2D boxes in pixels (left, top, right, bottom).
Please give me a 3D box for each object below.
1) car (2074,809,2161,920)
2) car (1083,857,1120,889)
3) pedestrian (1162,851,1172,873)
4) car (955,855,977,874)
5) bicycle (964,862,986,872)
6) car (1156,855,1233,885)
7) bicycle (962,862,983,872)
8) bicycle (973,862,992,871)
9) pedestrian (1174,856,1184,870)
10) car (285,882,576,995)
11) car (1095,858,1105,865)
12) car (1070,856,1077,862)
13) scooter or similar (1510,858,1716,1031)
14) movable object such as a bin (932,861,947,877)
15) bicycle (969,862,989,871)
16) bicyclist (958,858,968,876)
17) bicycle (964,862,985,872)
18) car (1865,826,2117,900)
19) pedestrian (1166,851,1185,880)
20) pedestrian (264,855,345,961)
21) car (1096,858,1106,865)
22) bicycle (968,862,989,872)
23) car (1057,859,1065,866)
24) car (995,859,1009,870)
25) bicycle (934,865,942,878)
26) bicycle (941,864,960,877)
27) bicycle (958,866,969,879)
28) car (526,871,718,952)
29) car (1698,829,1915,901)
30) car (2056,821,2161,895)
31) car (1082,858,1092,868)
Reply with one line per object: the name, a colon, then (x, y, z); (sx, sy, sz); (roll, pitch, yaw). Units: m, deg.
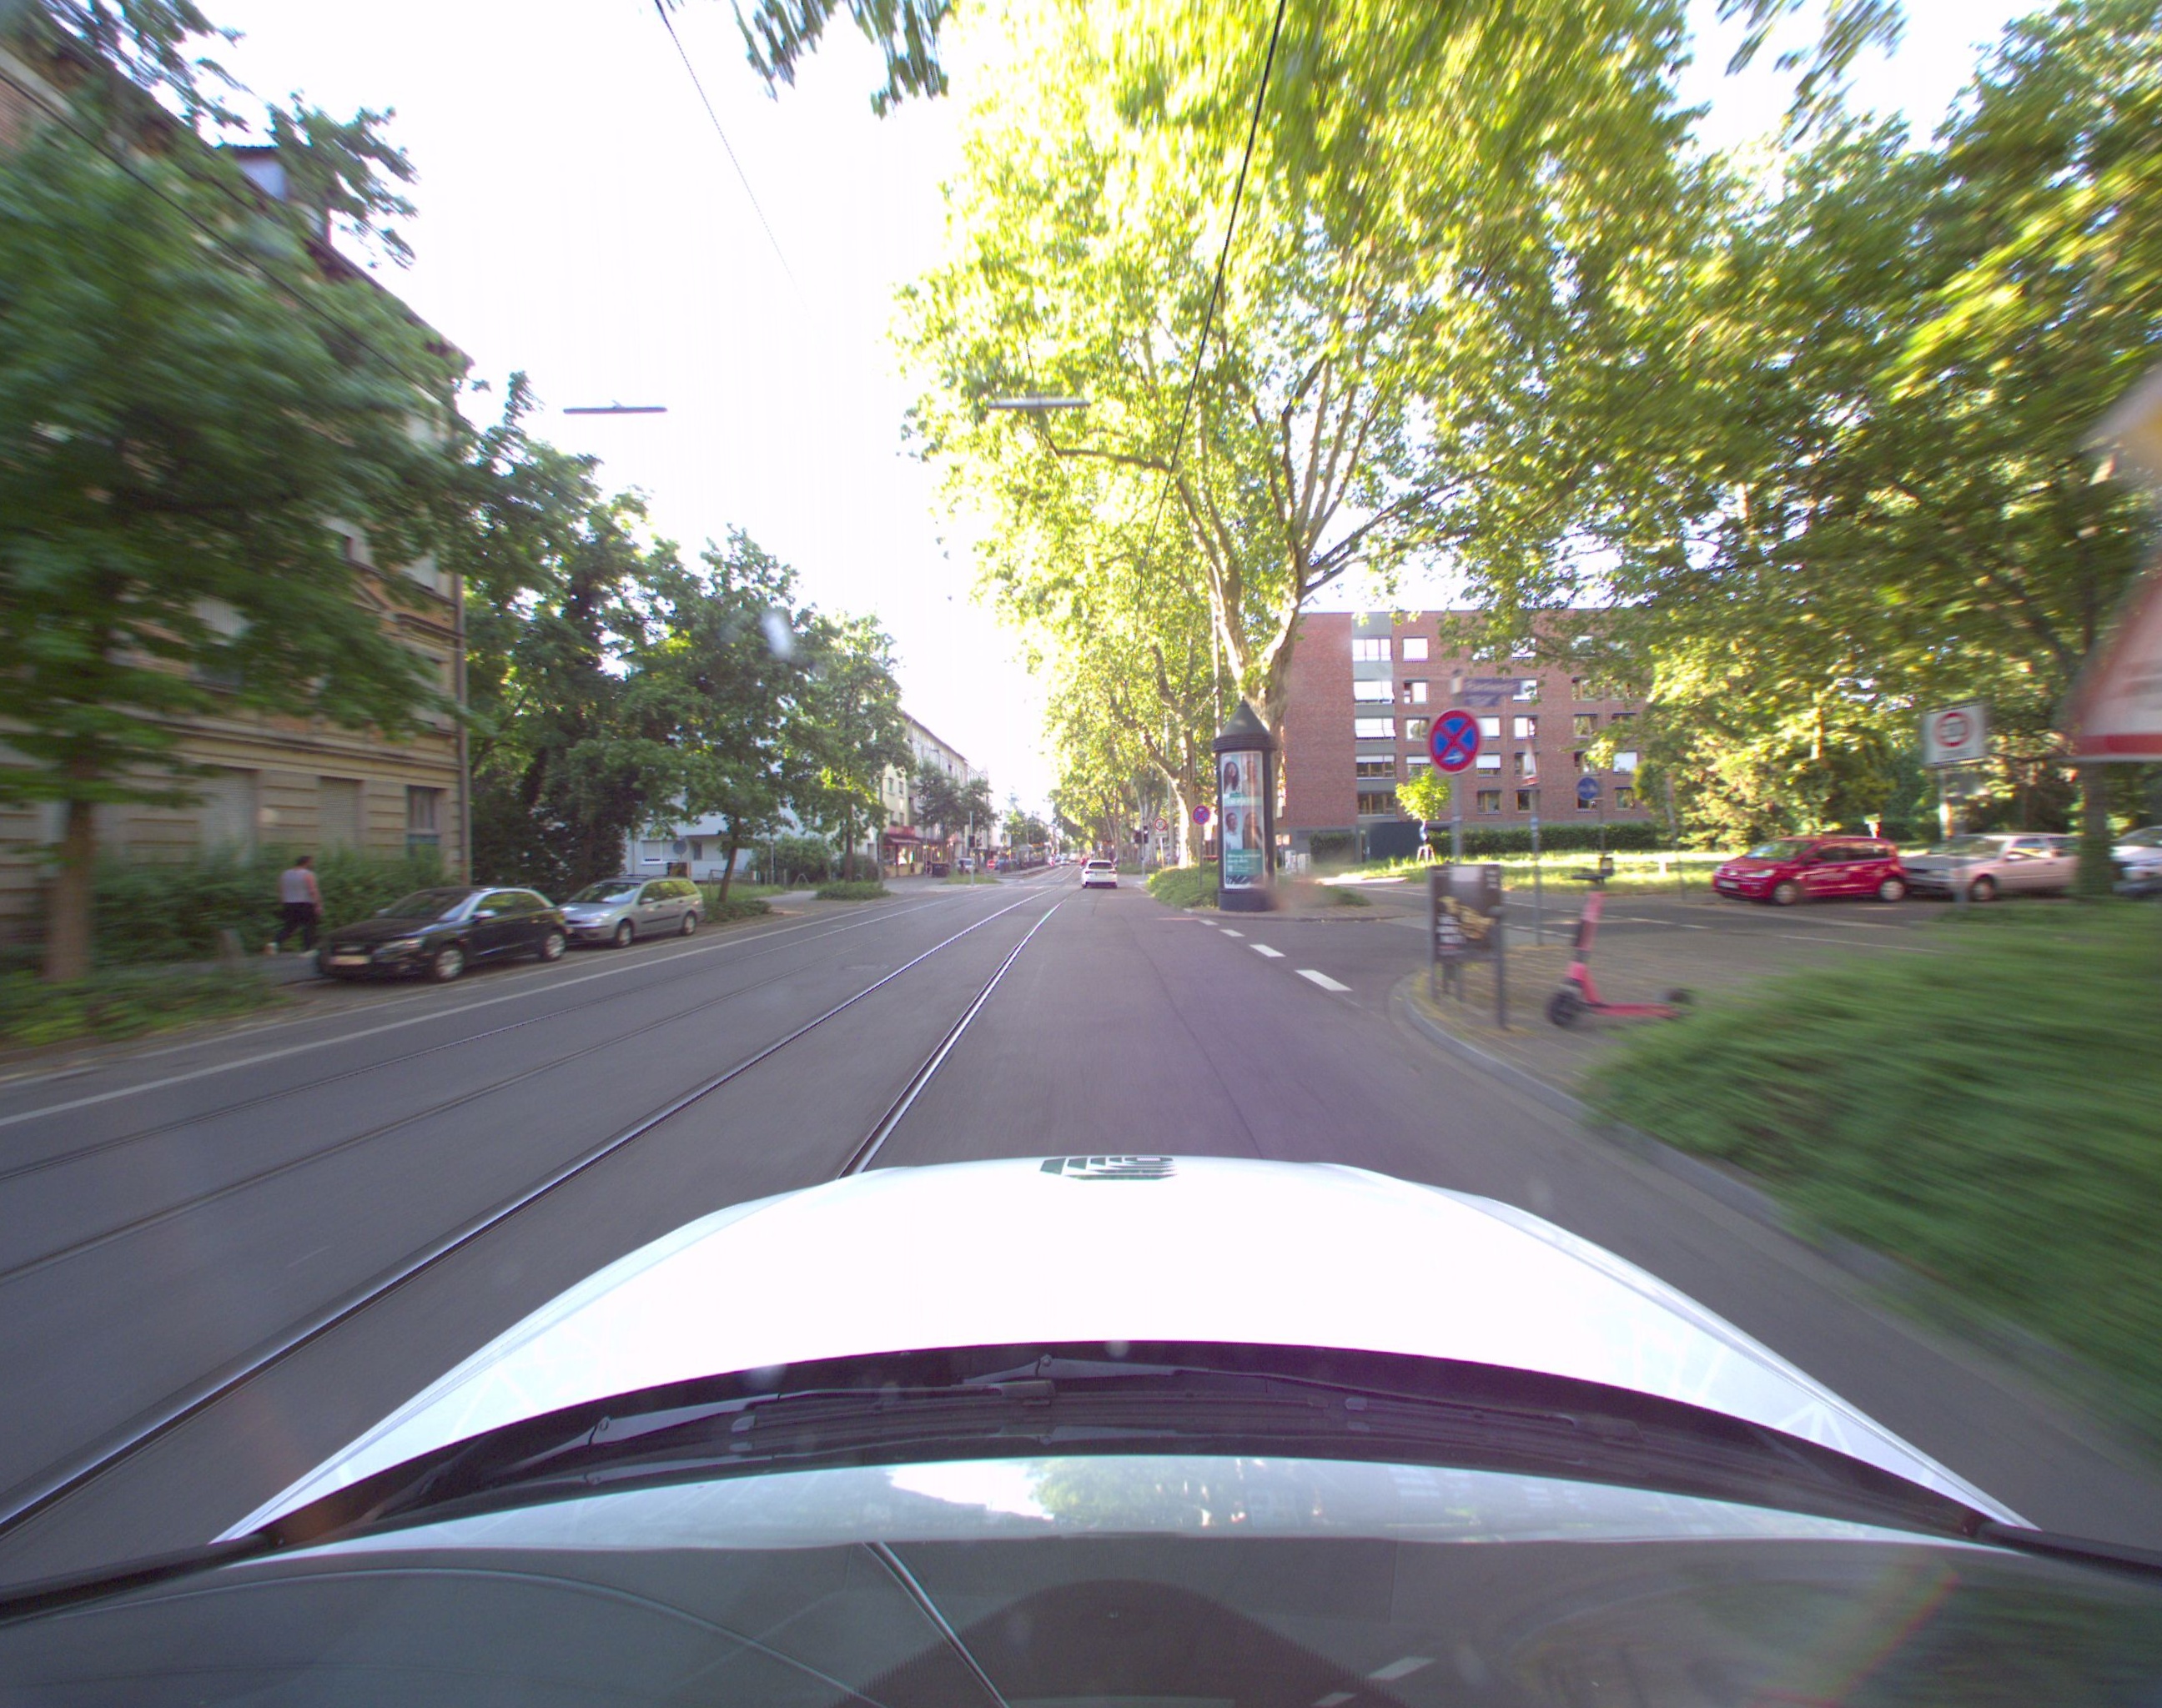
car: (16.295, 0.118, 10.264); (1.786, 1.574, 4.569); (-2, 0, -5)
car: (1.004, 0.943, 41.743); (1.782, 1.513, 3.999); (-2, 0, 0)
pedestrian: (6.410, 0.601, 60.679); (0.650, 1.669, 0.738); (-2, 0, -1)
car: (-11.827, 1.070, 83.977); (1.682, 1.940, 3.999); (-2, 0, 0)
bicycle: (-11.914, 1.483, 91.507); (2.245, 1.074, 0.636); (2, 0, 1)
car: (5.885, 0.808, 42.503); (3.869, 1.423, 1.650); (-2, 0, 3)
bicycle: (-11.966, 1.462, 89.859); (2.245, 1.074, 0.636); (2, 0, 1)
bicycle: (-11.953, 1.525, 98.780); (2.245, 1.074, 0.636); (2, 0, 1)
pedestrian: (11.556, 1.038, 95.843); (0.969, 1.623, 0.887); (-2, 0, 0)
car: (-10.474, 1.271, 13.555); (1.653, 1.445, 3.948); (-1, 0, 0)
car: (3.917, 1.531, 170.248); (1.987, 1.453, 3.999); (-2, 0, 0)
car: (-2.085, 1.491, 238.078); (1.860, 1.892, 3.999); (-2, 0, 0)
scooter or similar: (4.125, 0.676, 6.364); (1.205, 1.240, 0.569); (-2, -1, -2)
movable object such as a bin: (-12.277, 1.326, 70.641); (1.167, 1.348, 0.782); (2, -1, -4)
bicycle: (-12.107, 1.502, 96.948); (2.245, 1.074, 0.636); (2, 0, 1)
bicyclist: (-9.831, 1.103, 68.066); (0.639, 1.455, 0.837); (-2, 0, -1)
bicycle: (-12.203, 1.463, 93.317); (2.245, 1.074, 0.636); (2, 0, 1)
car: (20.437, 0.198, 18.395); (3.907, 1.452, 1.682); (-2, 0, -2)
pedestrian: (6.011, 0.735, 51.869); (0.993, 1.811, 0.862); (-2, 0, -5)
pedestrian: (-13.818, 0.935, 14.516); (0.739, 1.847, 0.728); (0, 0, -2)
car: (4.079, 1.494, 165.164); (1.987, 1.453, 3.999); (-2, 0, 0)
bicycle: (-11.966, 1.488, 95.108); (2.245, 1.074, 0.636); (2, 0, 1)
car: (-4.124, 1.743, 168.150); (1.688, 1.419, 3.999); (-2, 0, 0)
car: (-11.412, 1.535, 117.581); (1.588, 1.548, 3.999); (1, 0, 0)
bicycle: (-12.641, 1.509, 72.037); (0.497, 1.107, 1.798); (2, 0, -2)
bicycle: (-11.616, 1.494, 72.716); (1.529, 1.075, 0.885); (2, 0, -1)
bicycle: (-9.803, 1.552, 68.053); (0.639, 0.987, 2.100); (-2, 0, 0)
car: (-10.442, 1.220, 18.992); (1.692, 1.550, 4.540); (-1, 0, 3)
car: (16.540, 0.234, 18.684); (3.529, 1.452, 1.682); (-2, 0, -2)
car: (25.217, 0.030, 18.639); (3.907, 1.581, 1.682); (-2, 0, -2)
car: (1.075, 1.563, 142.600); (1.782, 1.513, 3.999); (-2, 0, 0)
